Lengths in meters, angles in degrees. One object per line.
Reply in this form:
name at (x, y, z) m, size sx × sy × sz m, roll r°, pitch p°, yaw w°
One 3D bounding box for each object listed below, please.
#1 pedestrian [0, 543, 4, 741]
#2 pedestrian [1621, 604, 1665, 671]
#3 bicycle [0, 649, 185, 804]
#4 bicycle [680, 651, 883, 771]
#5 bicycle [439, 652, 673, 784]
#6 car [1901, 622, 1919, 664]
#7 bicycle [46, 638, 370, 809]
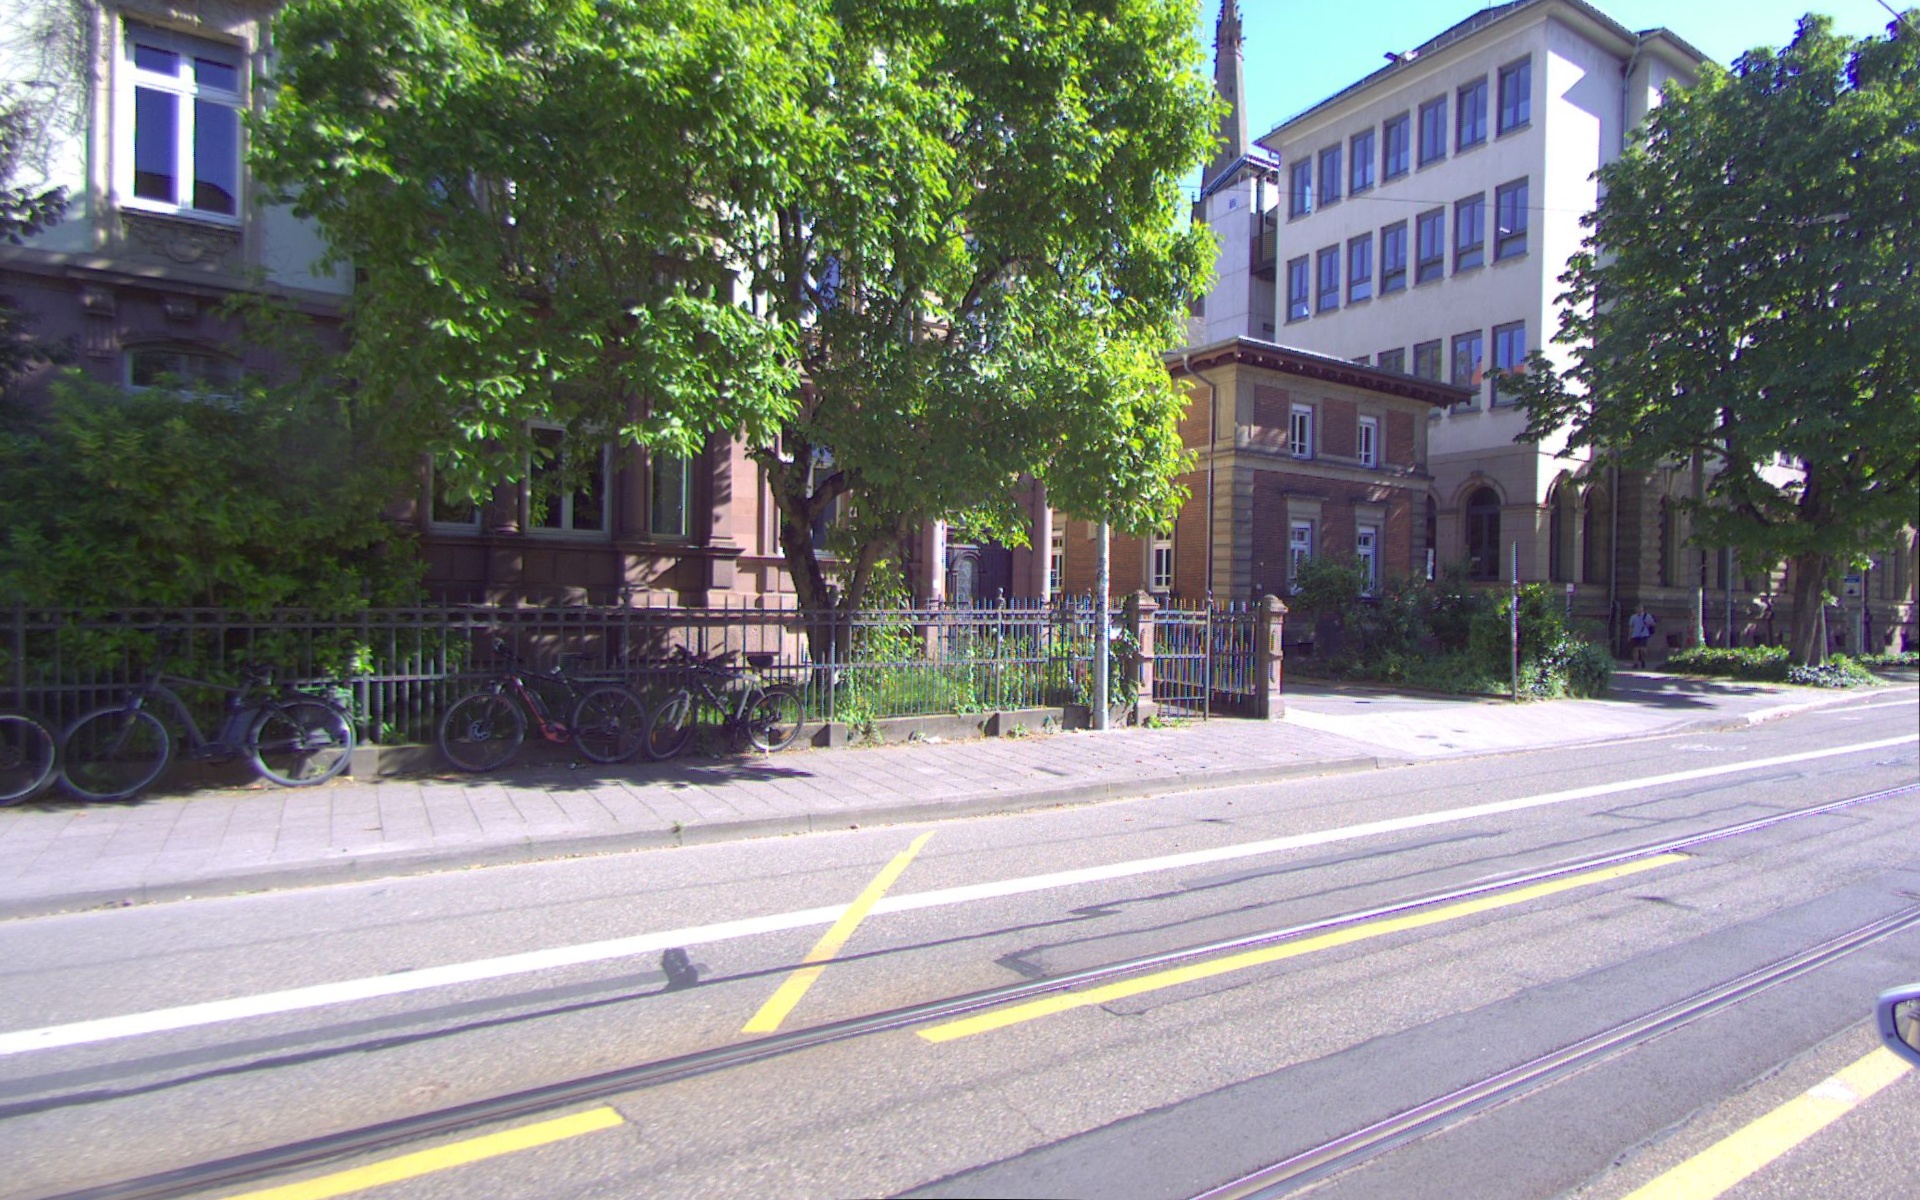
pedestrian at (-6.773, 0.535, 6.456) m, size 0.677 × 1.856 × 0.576 m, roll 1°, pitch 0°, yaw -13°
pedestrian at (19.384, 1.063, 28.519) m, size 0.772 × 1.821 × 0.724 m, roll 1°, pitch 2°, yaw -35°
bicycle at (-6.971, 0.899, 7.308) m, size 1.988 × 1.059 × 0.637 m, roll 1°, pitch 0°, yaw -15°
bicycle at (-1.754, 1.060, 9.967) m, size 1.881 × 1.059 × 0.587 m, roll 1°, pitch 1°, yaw -29°
bicycle at (-3.591, 1.017, 9.018) m, size 1.878 × 1.059 × 0.588 m, roll 1°, pitch 1°, yaw -24°
car at (38.203, 1.680, 37.663) m, size 3.930 × 1.570 × 1.873 m, roll 2°, pitch 0°, yaw 32°
bicycle at (-5.661, 0.894, 7.705) m, size 1.878 × 1.159 × 0.644 m, roll 1°, pitch 2°, yaw -24°
